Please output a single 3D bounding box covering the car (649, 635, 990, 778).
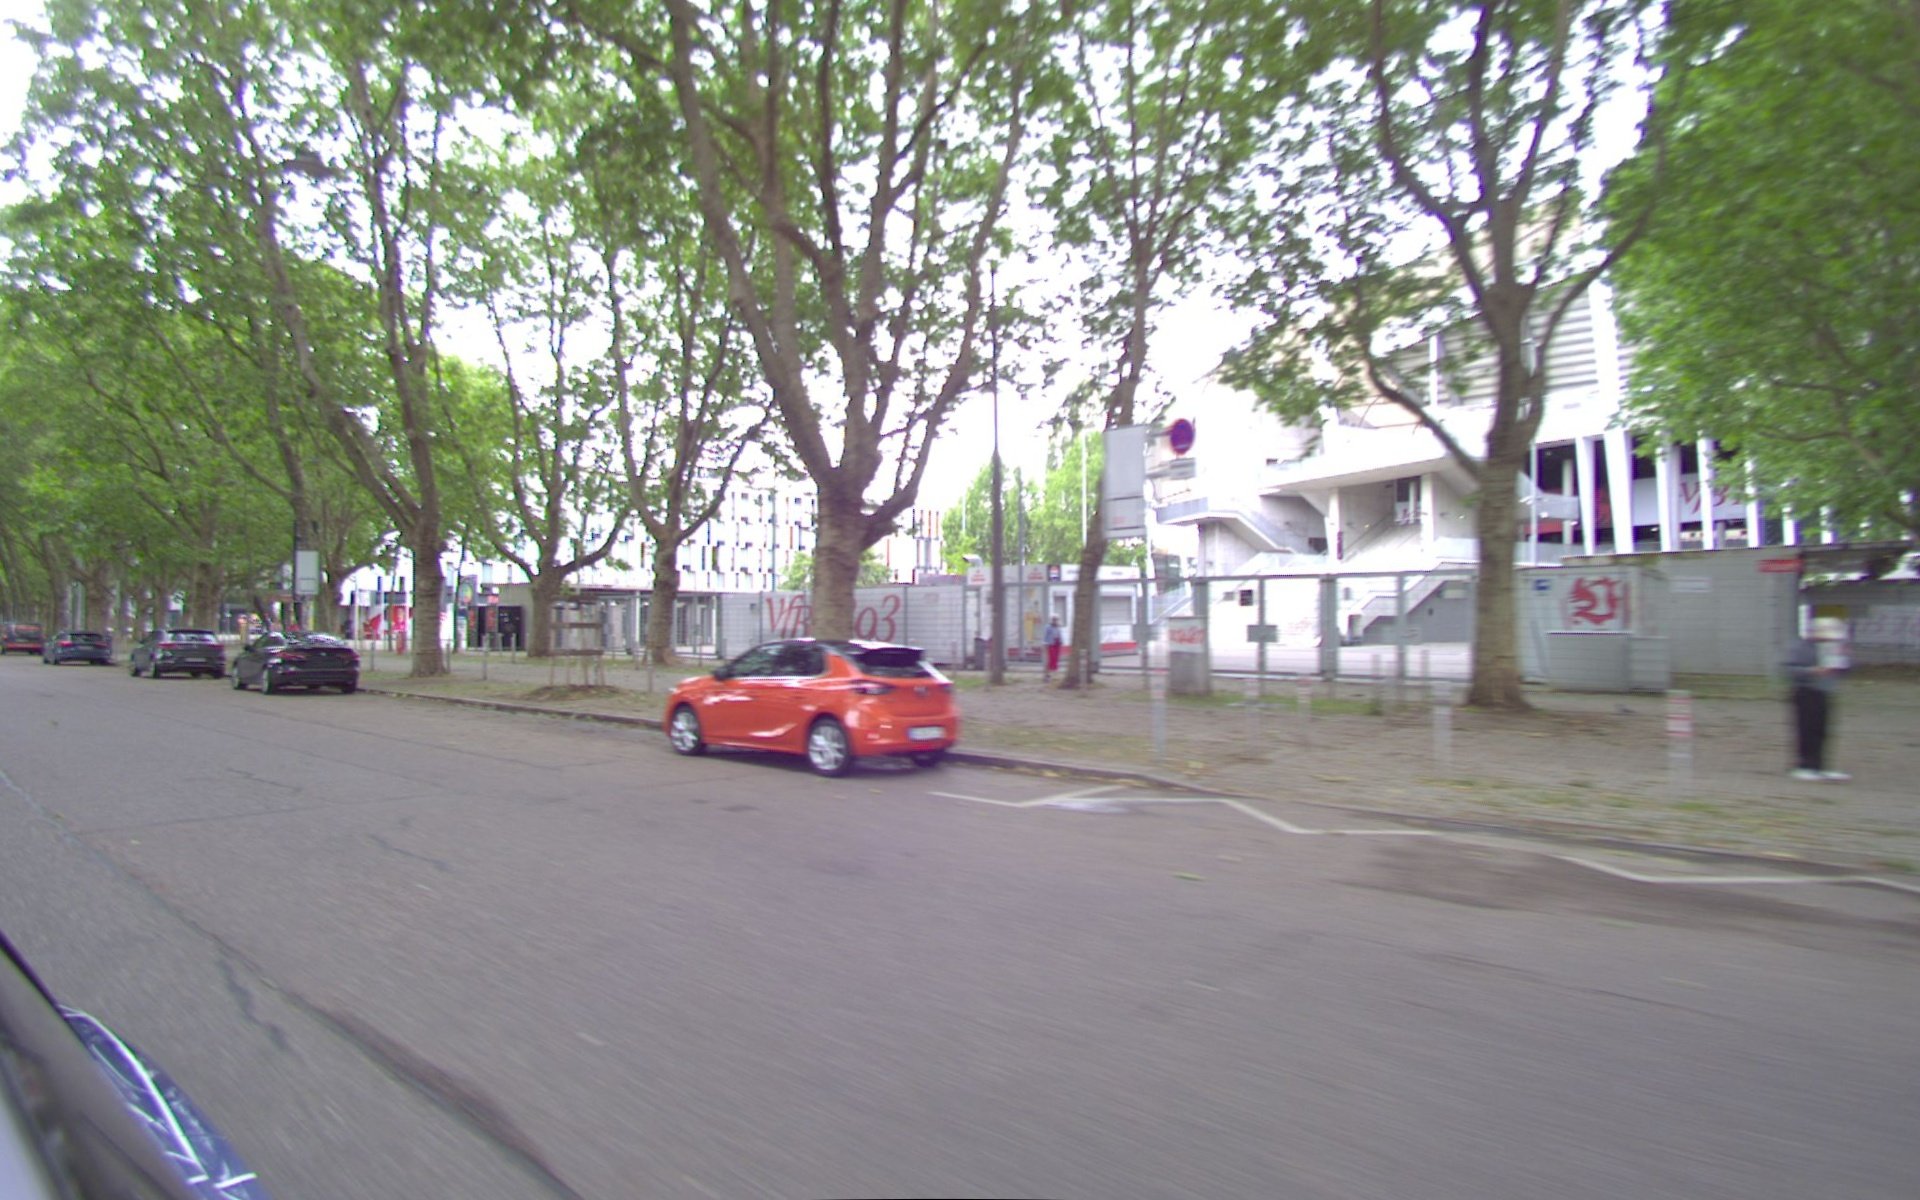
[{"bbox_3d":[-1.753,1.104,11.844,3.998,1.364,1.789,-2,-2,41],"label":"car"}]

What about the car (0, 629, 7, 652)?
[{"bbox_3d":[-61.528,2.520,63.579,4.748,1.413,1.884,-2,-5,41],"label":"car"}]

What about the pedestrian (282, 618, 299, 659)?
[{"bbox_3d":[-29.100,1.649,43.979,0.567,1.755,0.769,1,-2,-35],"label":"pedestrian"}]

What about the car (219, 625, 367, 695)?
[{"bbox_3d":[-15.654,1.357,23.650,4.627,1.477,1.807,-2,-3,43],"label":"car"}]

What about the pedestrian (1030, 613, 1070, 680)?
[{"bbox_3d":[2.124,1.086,23.840,0.660,1.555,0.660,-2,-2,41],"label":"pedestrian"}]

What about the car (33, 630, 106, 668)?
[{"bbox_3d":[-37.525,2.020,42.615,4.571,1.497,1.707,-2,-2,41],"label":"car"}]

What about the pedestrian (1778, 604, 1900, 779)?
[{"bbox_3d":[8.613,0.863,9.923,0.585,1.632,0.793,1,-2,-40],"label":"pedestrian"}]

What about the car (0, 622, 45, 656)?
[{"bbox_3d":[-50.893,2.074,54.375,4.634,1.764,1.929,-1,-4,40],"label":"car"}]

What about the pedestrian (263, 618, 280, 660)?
[{"bbox_3d":[-29.591,1.658,43.500,0.569,1.783,0.769,1,-2,-35],"label":"pedestrian"}]

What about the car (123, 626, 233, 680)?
[{"bbox_3d":[-24.004,1.594,31.030,4.148,1.538,1.858,-2,-3,41],"label":"car"}]
